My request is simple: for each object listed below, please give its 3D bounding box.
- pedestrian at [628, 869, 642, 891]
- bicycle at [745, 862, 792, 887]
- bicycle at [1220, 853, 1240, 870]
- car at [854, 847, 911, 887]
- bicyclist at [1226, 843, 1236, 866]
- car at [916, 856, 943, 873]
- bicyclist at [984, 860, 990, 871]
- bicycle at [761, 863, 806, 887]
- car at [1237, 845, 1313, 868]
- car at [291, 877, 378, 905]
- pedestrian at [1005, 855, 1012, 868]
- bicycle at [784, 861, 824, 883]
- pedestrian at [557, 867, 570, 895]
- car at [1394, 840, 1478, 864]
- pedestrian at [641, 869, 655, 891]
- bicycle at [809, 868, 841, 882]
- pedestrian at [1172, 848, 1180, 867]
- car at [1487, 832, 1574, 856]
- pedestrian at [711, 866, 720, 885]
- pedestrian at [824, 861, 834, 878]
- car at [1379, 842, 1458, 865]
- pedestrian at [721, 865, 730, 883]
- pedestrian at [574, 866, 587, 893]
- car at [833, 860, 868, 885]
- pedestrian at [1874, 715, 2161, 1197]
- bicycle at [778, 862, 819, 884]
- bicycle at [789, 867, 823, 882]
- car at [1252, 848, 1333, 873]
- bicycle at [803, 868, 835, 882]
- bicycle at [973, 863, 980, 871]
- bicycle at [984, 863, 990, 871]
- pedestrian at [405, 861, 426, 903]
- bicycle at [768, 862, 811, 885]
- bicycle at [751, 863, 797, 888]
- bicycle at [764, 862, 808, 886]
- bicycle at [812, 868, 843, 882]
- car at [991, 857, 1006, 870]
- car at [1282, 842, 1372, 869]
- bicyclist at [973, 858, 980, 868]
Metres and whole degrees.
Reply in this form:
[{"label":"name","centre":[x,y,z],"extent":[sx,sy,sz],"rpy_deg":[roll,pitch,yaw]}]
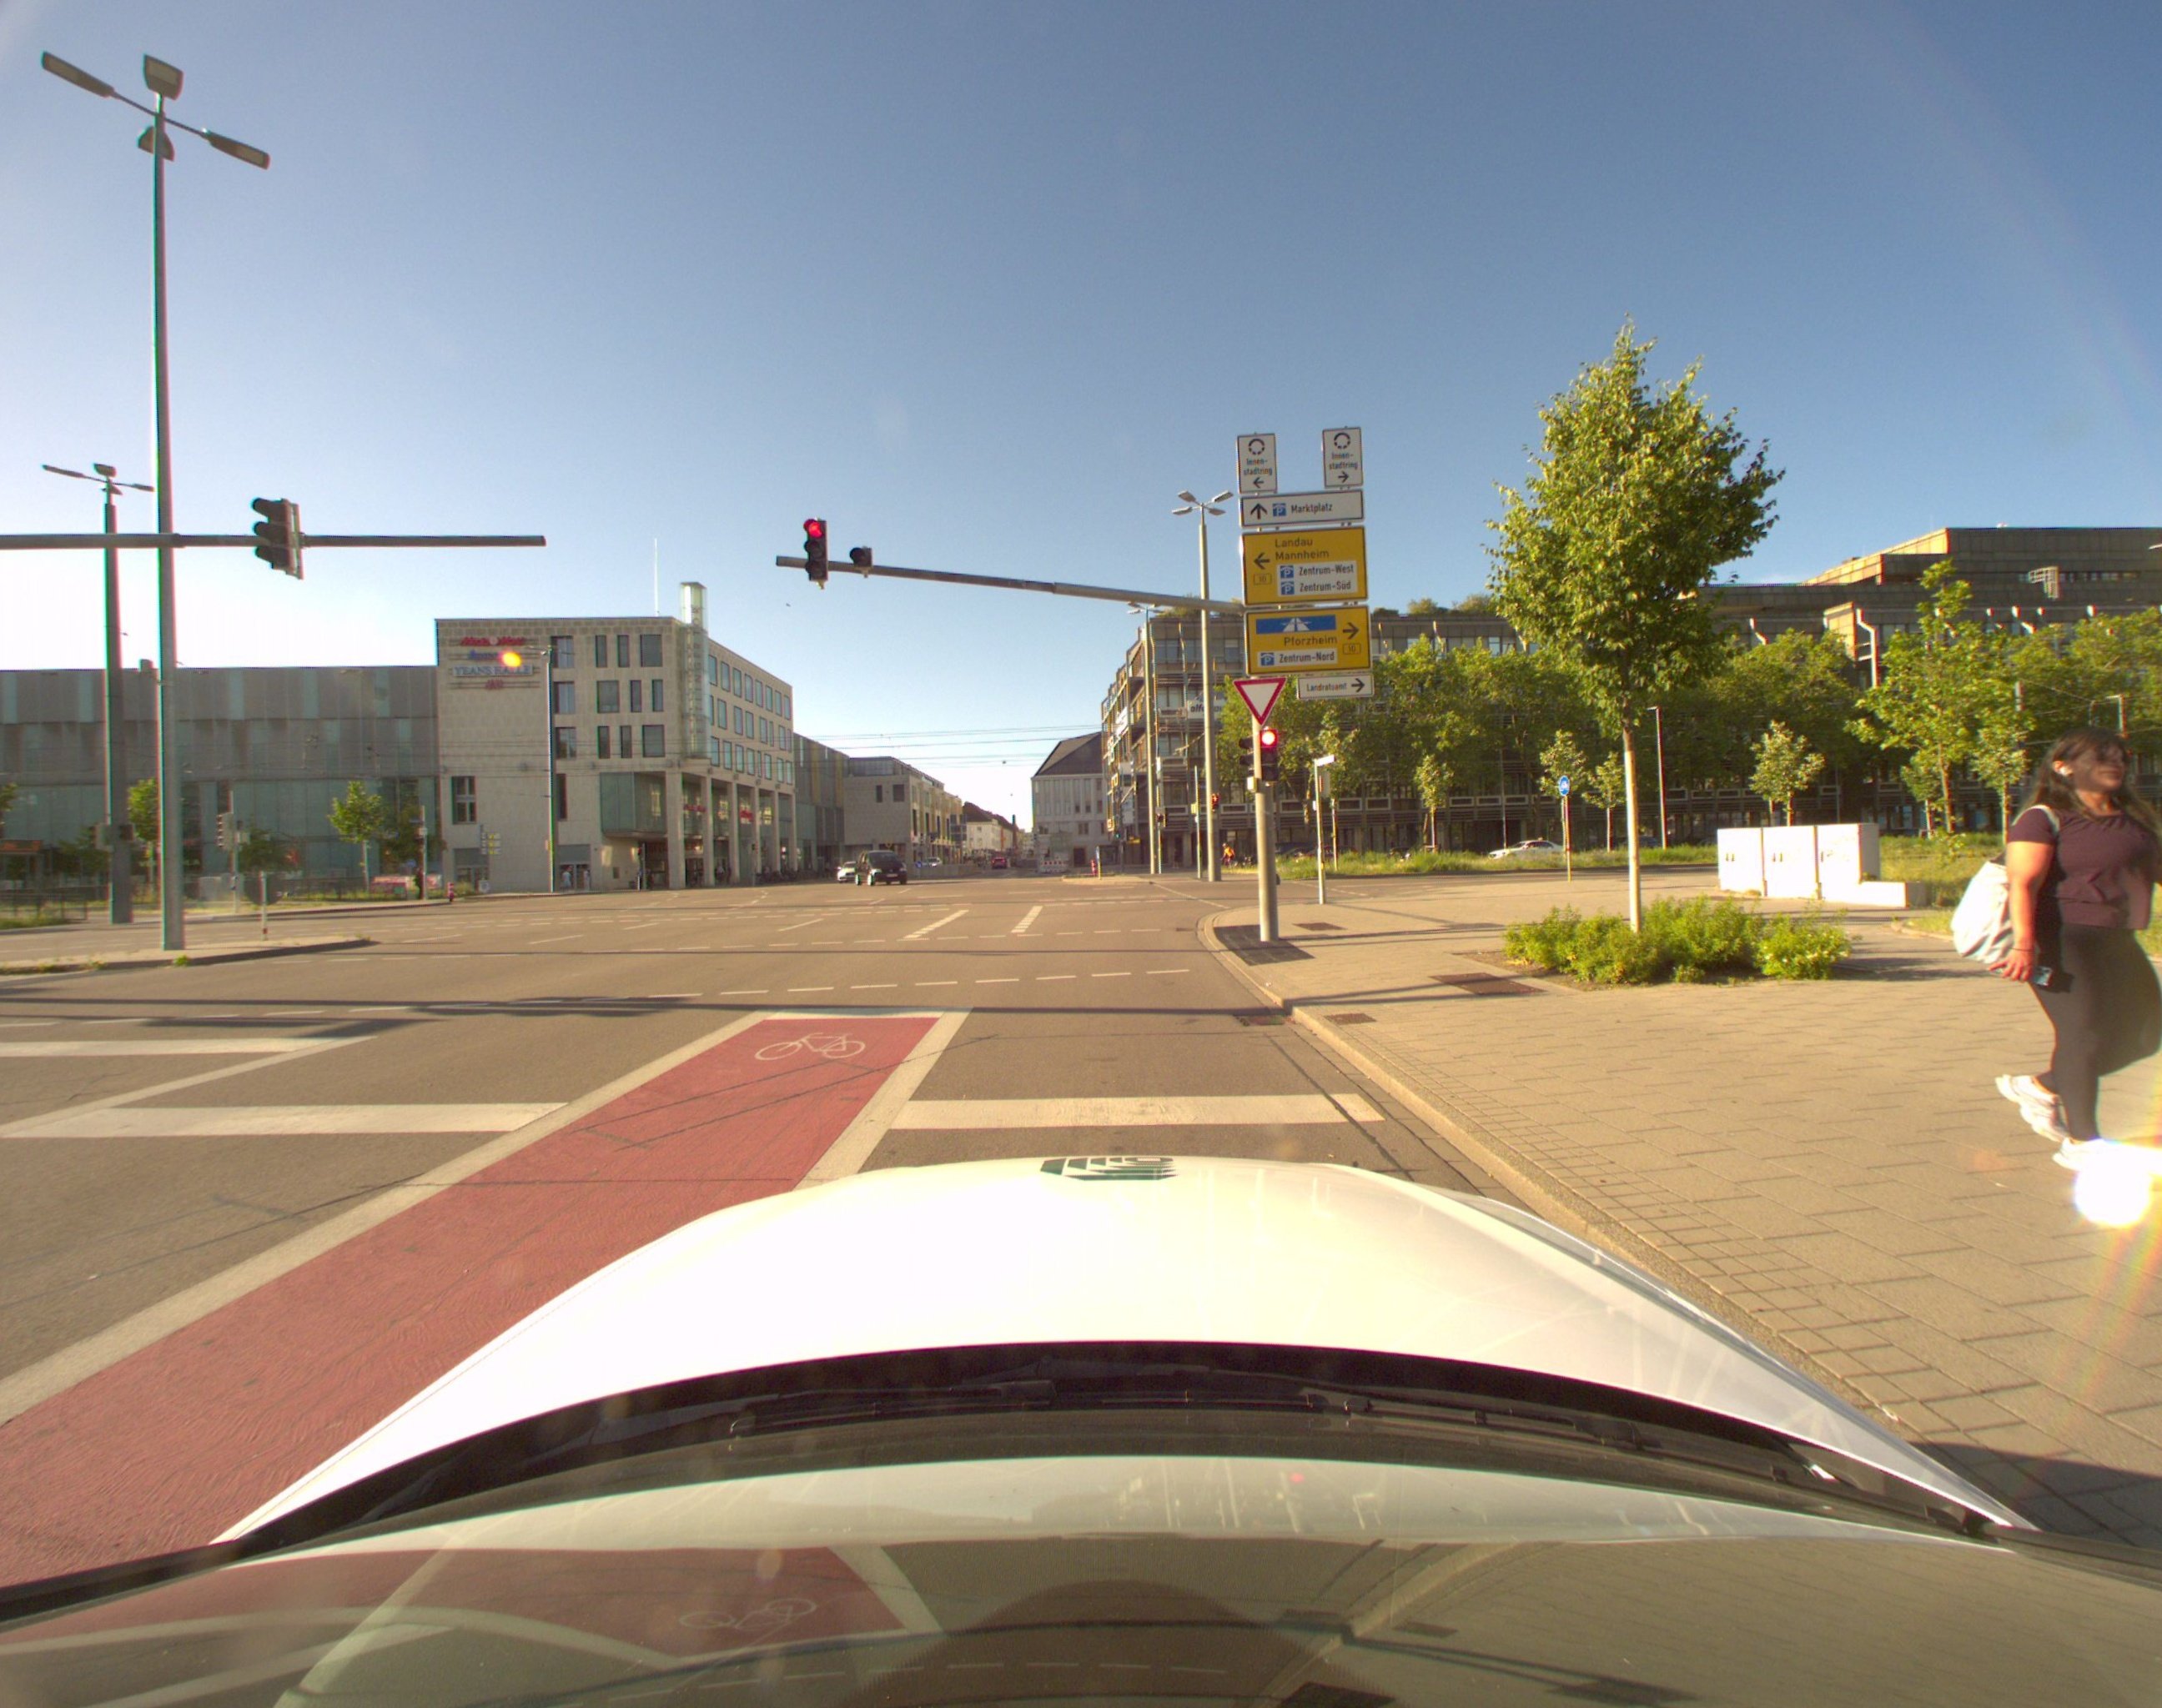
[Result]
[{"label":"pedestrian","centre":[-32.961,1.906,60.161],"extent":[0.621,1.608,0.653],"rpy_deg":[-2,0,0]},{"label":"bicycle","centre":[-27.160,1.789,70.796],"extent":[3.617,2.013,1.084],"rpy_deg":[-2,0,-7]},{"label":"bicycle","centre":[8.882,0.470,48.520],"extent":[1.072,0.971,0.458],"rpy_deg":[-2,0,2]},{"label":"car","centre":[-9.749,0.562,39.766],"extent":[2.002,1.742,4.612],"rpy_deg":[-2,2,-22]},{"label":"bicyclist","centre":[8.920,0.032,48.523],"extent":[0.506,1.338,0.453],"rpy_deg":[-2,0,3]},{"label":"car","centre":[-15.451,1.063,83.096],"extent":[1.988,1.623,4.234],"rpy_deg":[-2,0,-2]},{"label":"bicyclist","centre":[-13.385,1.636,115.649],"extent":[0.744,1.460,0.766],"rpy_deg":[-2,0,-2]},{"label":"bicycle","centre":[-26.869,1.877,73.593],"extent":[3.613,2.013,1.085],"rpy_deg":[-2,0,-4]},{"label":"car","centre":[13.099,0.137,55.165],"extent":[4.620,1.356,1.998],"rpy_deg":[-2,1,-3]},{"label":"car","centre":[-47.945,2.367,52.342],"extent":[3.769,1.564,1.780],"rpy_deg":[-2,0,-4]},{"label":"pedestrian","centre":[-9.815,0.973,110.137],"extent":[0.712,1.668,0.987],"rpy_deg":[-2,0,-1]},{"label":"bicycle","centre":[-27.779,1.792,81.625],"extent":[3.613,2.013,0.901],"rpy_deg":[-2,0,-4]},{"label":"pedestrian","centre":[-38.216,1.992,60.140],"extent":[0.622,2.013,0.515],"rpy_deg":[-2,0,-8]},{"label":"car","centre":[22.982,-0.133,52.784],"extent":[4.620,1.356,1.998],"rpy_deg":[-2,1,-3]},{"label":"pedestrian","centre":[-31.951,1.936,60.110],"extent":[0.621,1.608,0.653],"rpy_deg":[-2,0,0]},{"label":"bicycle","centre":[-27.943,2.270,88.915],"extent":[3.044,1.400,0.901],"rpy_deg":[-2,0,-4]},{"label":"pedestrian","centre":[7.886,0.266,67.449],"extent":[0.619,1.519,0.655],"rpy_deg":[-2,0,9]},{"label":"car","centre":[29.197,-0.684,52.986],"extent":[4.620,1.356,1.998],"rpy_deg":[-2,1,-3]},{"label":"pedestrian","centre":[-32.442,1.904,72.297],"extent":[0.627,1.608,0.646],"rpy_deg":[-2,0,-35]},{"label":"pedestrian","centre":[-25.536,1.562,82.510],"extent":[0.746,1.608,0.619],"rpy_deg":[-2,0,-27]},{"label":"car","centre":[23.315,-0.055,56.392],"extent":[4.620,1.356,1.998],"rpy_deg":[-2,1,-3]},{"label":"pedestrian","centre":[-31.916,1.821,73.089],"extent":[0.627,1.608,0.646],"rpy_deg":[-2,0,-35]},{"label":"pedestrian","centre":[-37.818,1.912,61.570],"extent":[0.622,2.013,0.515],"rpy_deg":[-2,0,-8]},{"label":"car","centre":[-15.269,1.176,54.124],"extent":[1.996,1.356,4.625],"rpy_deg":[-2,2,-13]},{"label":"pedestrian","centre":[4.174,0.359,3.413],"extent":[0.814,1.748,1.047],"rpy_deg":[-3,0,22]},{"label":"bicycle","centre":[-27.667,1.833,79.781],"extent":[3.613,2.013,0.901],"rpy_deg":[-2,0,-4]},{"label":"bicycle","centre":[-27.908,2.062,82.602],"extent":[3.044,1.400,0.901],"rpy_deg":[-2,0,-4]},{"label":"car","centre":[13.538,0.406,52.237],"extent":[4.620,1.356,1.998],"rpy_deg":[-2,1,-3]},{"label":"bicycle","centre":[-27.979,2.229,87.028],"extent":[3.044,1.400,0.901],"rpy_deg":[-2,0,-4]},{"label":"bicycle","centre":[-14.692,1.825,114.624],"extent":[0.739,1.046,2.429],"rpy_deg":[-2,0,-2]},{"label":"bicycle","centre":[-13.340,1.787,115.677],"extent":[0.739,1.046,2.429],"rpy_deg":[-2,0,-2]},{"label":"pedestrian","centre":[-32.537,1.366,39.810],"extent":[0.515,2.013,0.622],"rpy_deg":[-2,0,-12]},{"label":"bicycle","centre":[-27.802,1.871,77.691],"extent":[3.613,2.013,1.085],"rpy_deg":[-2,0,-4]},{"label":"bicycle","centre":[-27.180,1.901,72.135],"extent":[3.613,2.013,1.085],"rpy_deg":[-2,0,-4]},{"label":"bicycle","centre":[-27.697,1.856,76.543],"extent":[3.613,2.013,1.085],"rpy_deg":[-2,0,-4]},{"label":"bicycle","centre":[-28.092,2.320,90.329],"extent":[3.044,1.400,0.901],"rpy_deg":[-2,0,-4]},{"label":"car","centre":[-11.149,1.256,110.075],"extent":[1.991,1.552,3.992],"rpy_deg":[-2,0,-5]},{"label":"car","centre":[14.309,0.058,47.517],"extent":[4.620,1.356,1.998],"rpy_deg":[-2,1,-3]},{"label":"bicyclist","centre":[-14.704,1.260,114.650],"extent":[0.744,1.460,0.766],"rpy_deg":[-2,0,-2]}]
